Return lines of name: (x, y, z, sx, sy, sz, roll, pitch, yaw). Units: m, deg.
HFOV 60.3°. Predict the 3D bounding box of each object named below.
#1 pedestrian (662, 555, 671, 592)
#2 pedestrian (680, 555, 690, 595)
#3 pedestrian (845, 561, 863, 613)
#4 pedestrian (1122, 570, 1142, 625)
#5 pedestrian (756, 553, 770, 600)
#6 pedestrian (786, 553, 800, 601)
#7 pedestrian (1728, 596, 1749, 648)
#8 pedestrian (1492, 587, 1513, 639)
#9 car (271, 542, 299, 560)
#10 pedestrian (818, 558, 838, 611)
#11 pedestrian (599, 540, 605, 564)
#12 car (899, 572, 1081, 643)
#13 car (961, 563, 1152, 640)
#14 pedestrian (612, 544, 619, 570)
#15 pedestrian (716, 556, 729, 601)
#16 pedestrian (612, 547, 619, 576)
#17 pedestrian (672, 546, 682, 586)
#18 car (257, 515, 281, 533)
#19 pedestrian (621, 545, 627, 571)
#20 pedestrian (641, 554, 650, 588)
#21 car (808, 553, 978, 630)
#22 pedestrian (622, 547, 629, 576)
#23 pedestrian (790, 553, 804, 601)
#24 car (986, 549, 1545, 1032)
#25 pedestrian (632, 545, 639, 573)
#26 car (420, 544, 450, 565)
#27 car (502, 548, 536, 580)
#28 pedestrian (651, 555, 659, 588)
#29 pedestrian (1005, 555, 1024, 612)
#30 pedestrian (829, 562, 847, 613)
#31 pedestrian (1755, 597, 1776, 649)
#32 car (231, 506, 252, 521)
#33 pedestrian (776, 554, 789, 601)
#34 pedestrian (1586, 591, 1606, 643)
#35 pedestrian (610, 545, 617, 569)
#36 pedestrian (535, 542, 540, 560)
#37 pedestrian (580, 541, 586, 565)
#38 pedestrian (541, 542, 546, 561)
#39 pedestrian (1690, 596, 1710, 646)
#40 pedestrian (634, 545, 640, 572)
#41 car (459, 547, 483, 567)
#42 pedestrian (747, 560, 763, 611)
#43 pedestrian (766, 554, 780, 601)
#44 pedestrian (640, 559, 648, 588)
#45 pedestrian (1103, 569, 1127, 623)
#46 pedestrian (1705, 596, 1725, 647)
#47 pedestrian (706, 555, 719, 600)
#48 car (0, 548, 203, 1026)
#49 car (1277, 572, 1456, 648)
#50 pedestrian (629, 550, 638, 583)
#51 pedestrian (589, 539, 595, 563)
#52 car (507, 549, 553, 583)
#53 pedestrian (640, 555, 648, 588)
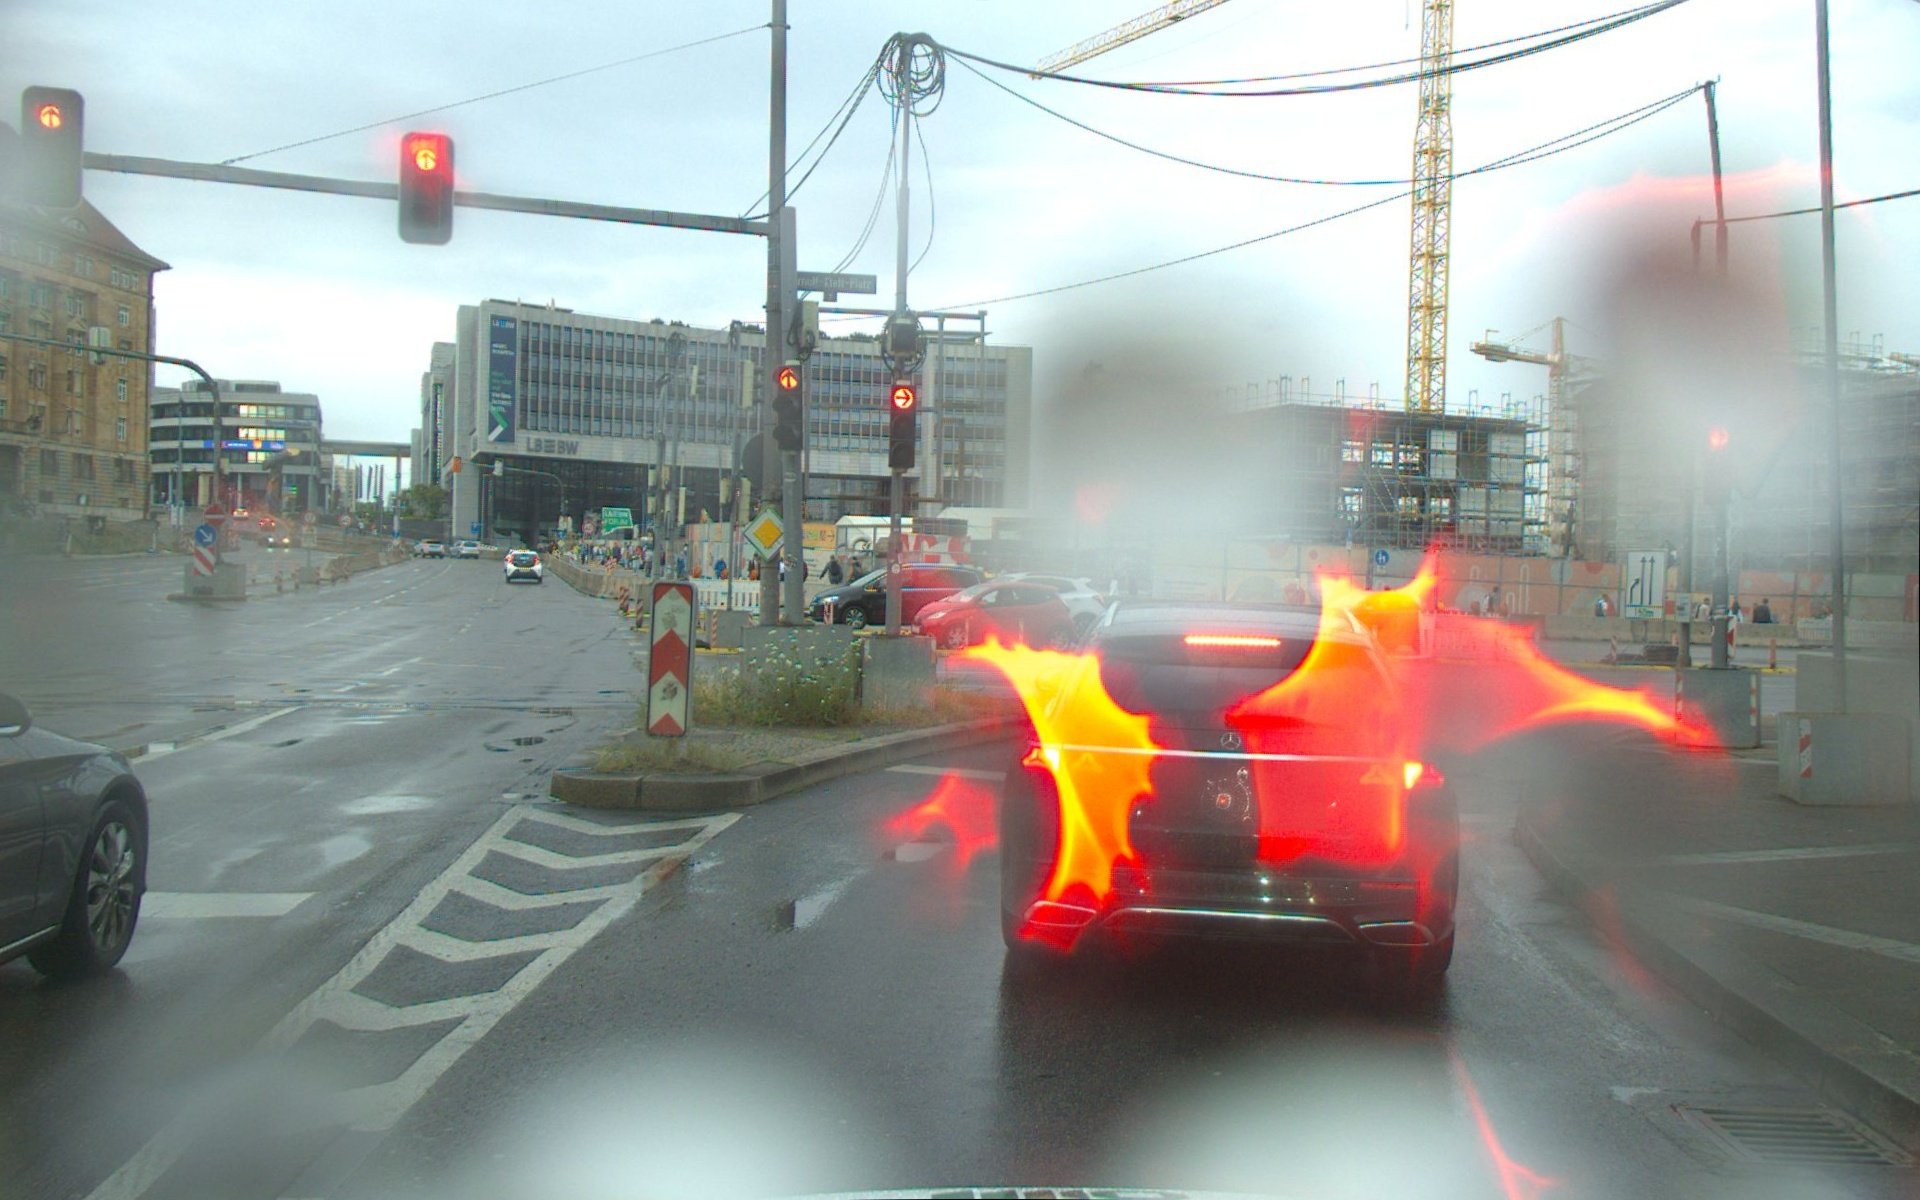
pedestrian: (-15.543, -1.408, 87.586, 0.355, 1.931, 0.573, 2, -1, -18)
pedestrian: (-13.661, -1.239, 82.173, 0.355, 1.931, 0.573, 2, -1, -18)
pedestrian: (-3.992, -0.494, 62.212, 0.358, 1.931, 0.569, 3, -1, -37)
pedestrian: (6.177, -0.094, 59.529, 0.564, 1.931, 0.361, 2, -1, -12)
pedestrian: (-8.171, -0.968, 68.537, 0.356, 1.931, 0.573, 2, -1, -22)
pedestrian: (-6.727, -0.934, 66.673, 0.356, 1.931, 0.572, 2, -1, -22)
pedestrian: (29.469, 0.828, 62.599, 0.564, 1.931, 0.361, 2, -1, -12)
pedestrian: (20.071, 0.479, 61.205, 0.564, 1.931, 0.361, 2, -1, -12)
car: (-64.922, -4.686, 159.113, 1.648, 1.624, 3.569, 3, -1, -36)
pedestrian: (-4.864, -0.561, 60.976, 0.564, 1.931, 0.361, 1, -1, 30)
pedestrian: (-29.792, -3.975, 137.668, 0.355, 1.931, 0.573, 2, -1, -18)
car: (0.625, 0.166, 35.107, 3.481, 1.327, 1.656, 2, -1, -20)
car: (2.249, 0.048, 38.622, 3.981, 1.579, 1.988, 2, -1, -20)
pedestrian: (-26.115, -3.237, 125.289, 0.355, 1.931, 0.573, 2, -1, -18)
pedestrian: (-10.385, -0.950, 72.256, 0.356, 1.931, 0.572, 2, -1, -22)
pedestrian: (-23.418, -2.587, 112.347, 0.355, 1.931, 0.573, 2, -1, -18)
pedestrian: (-14.020, -1.683, 82.001, 0.355, 1.931, 0.573, 2, -1, -18)
car: (-88.056, -9.650, 210.719, 1.976, 2.049, 3.953, 3, -1, -34)
pedestrian: (-25.493, -3.176, 125.533, 0.355, 1.931, 0.573, 2, -1, -18)
pedestrian: (-18.231, -1.681, 95.801, 0.355, 1.931, 0.573, 2, -1, -18)
car: (-1.720, -0.199, 42.093, 3.924, 1.764, 1.991, 2, -1, -17)
pedestrian: (-22.449, -2.567, 110.901, 0.355, 1.931, 0.574, 2, -1, -14)
pedestrian: (-6.577, -0.926, 66.889, 0.356, 1.931, 0.572, 2, -1, -22)
car: (1.194, 0.672, 7.671, 1.851, 1.571, 3.995, 2, -1, 4)
pedestrian: (-22.397, -2.829, 114.223, 0.355, 1.931, 0.573, 2, -1, -18)
car: (-46.824, -4.043, 147.500, 1.968, 1.668, 3.968, 3, -1, -25)
car: (-27.240, -2.199, 102.080, 1.961, 1.797, 4.400, 2, -1, -16)
pedestrian: (-17.686, -1.658, 95.943, 0.355, 1.931, 0.573, 2, -1, -18)
pedestrian: (1.864, -0.561, 56.602, 0.563, 1.931, 0.362, 2, -1, -3)
pedestrian: (-4.648, -0.478, 62.993, 0.562, 1.931, 0.362, 2, -1, 13)
pedestrian: (30.295, 0.856, 62.228, 0.564, 1.931, 0.361, 2, -1, -12)
car: (-100.818, -12.063, 232.109, 1.976, 1.847, 3.953, 3, -1, -34)
pedestrian: (-7.404, -0.933, 68.998, 0.356, 1.931, 0.572, 2, -1, -22)
pedestrian: (24.354, 0.648, 63.310, 0.564, 1.931, 0.361, 2, -1, -12)
pedestrian: (-28.351, -3.511, 135.314, 0.355, 1.931, 0.573, 2, -1, -18)
pedestrian: (-45.493, -5.260, 178.057, 0.355, 1.931, 0.574, 2, -1, -15)
pedestrian: (-31.268, -3.902, 137.015, 0.355, 1.931, 0.573, 2, -1, -18)
pedestrian: (-44.912, -5.234, 178.357, 0.355, 1.931, 0.574, 2, -1, -15)
pedestrian: (28.758, 0.821, 64.258, 0.564, 1.931, 0.361, 2, -1, -12)
pedestrian: (-23.348, -2.987, 119.552, 0.355, 1.931, 0.573, 2, -1, -18)
car: (-44.920, -3.938, 151.841, 1.704, 1.668, 3.412, 2, 3, -23)
pedestrian: (-7.868, -0.554, 63.453, 0.357, 1.931, 0.571, 3, -1, -27)
pedestrian: (-7.781, -0.937, 68.830, 0.356, 1.931, 0.572, 2, -1, -22)
pedestrian: (-20.931, -1.764, 109.604, 0.355, 1.931, 0.573, 2, -1, -18)
pedestrian: (5.632, -0.133, 60.124, 0.645, 1.934, 0.629, 2, -1, -15)
pedestrian: (28.981, 0.820, 63.472, 0.564, 1.931, 0.361, 2, -1, -12)
pedestrian: (-10.791, -0.968, 72.043, 0.356, 1.931, 0.572, 2, -1, -22)
car: (-3.694, 0.564, 4.305, 1.749, 1.427, 4.481, 2, 1, -6)
car: (10.300, 0.255, 41.963, 3.925, 1.738, 1.990, 2, -1, -18)
pedestrian: (-19.216, -1.984, 97.340, 0.355, 1.931, 0.573, 2, -1, -18)
pedestrian: (-30.559, -4.071, 137.348, 0.355, 1.931, 0.573, 2, -1, -18)
car: (-20.944, -1.640, 80.681, 1.747, 1.499, 3.552, 2, -1, -9)
pedestrian: (-18.636, -1.676, 97.513, 0.355, 1.931, 0.573, 2, -1, -18)
